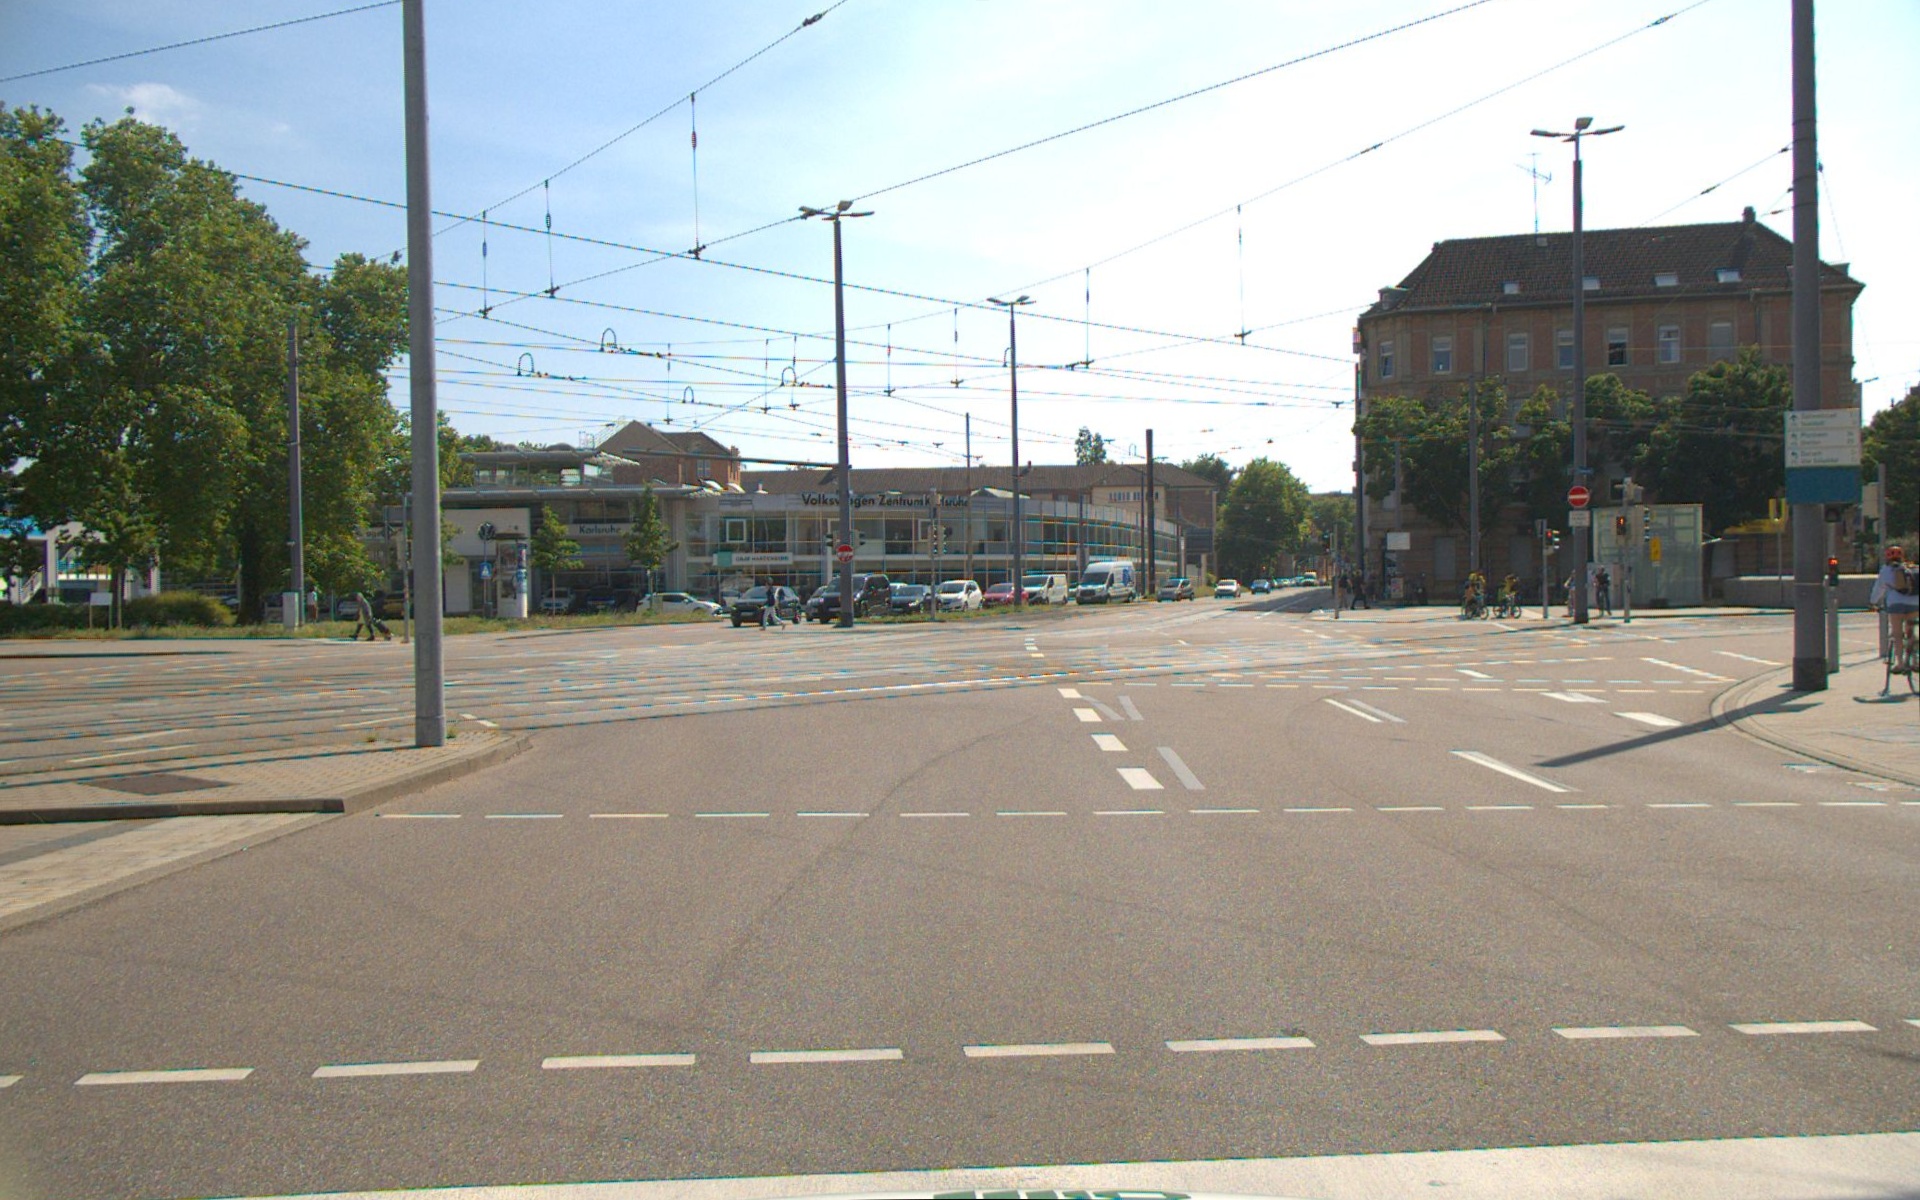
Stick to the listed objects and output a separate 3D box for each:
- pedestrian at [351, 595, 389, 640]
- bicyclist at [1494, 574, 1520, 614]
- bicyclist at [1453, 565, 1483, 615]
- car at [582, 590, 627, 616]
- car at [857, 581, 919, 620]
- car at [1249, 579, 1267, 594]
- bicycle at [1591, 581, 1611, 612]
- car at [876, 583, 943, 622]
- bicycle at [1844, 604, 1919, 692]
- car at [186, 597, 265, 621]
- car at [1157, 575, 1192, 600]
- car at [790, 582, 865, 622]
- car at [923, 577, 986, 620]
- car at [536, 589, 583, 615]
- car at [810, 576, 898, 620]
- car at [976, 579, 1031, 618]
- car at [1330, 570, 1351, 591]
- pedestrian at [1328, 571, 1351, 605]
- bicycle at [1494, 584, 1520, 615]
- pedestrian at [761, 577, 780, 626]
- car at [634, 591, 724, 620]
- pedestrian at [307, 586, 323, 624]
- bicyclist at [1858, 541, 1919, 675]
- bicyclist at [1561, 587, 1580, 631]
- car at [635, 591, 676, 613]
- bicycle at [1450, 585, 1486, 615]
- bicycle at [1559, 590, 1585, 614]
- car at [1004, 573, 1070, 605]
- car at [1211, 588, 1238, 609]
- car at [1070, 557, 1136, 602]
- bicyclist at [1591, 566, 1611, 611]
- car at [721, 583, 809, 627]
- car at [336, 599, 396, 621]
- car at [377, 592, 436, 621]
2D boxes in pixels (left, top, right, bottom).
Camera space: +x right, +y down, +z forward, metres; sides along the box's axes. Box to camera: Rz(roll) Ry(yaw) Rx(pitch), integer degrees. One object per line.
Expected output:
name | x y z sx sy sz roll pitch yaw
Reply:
pedestrian | -18.962 0.571 53.165 1.098 1.428 0.652 1 -1 -23
bicyclist | 20.394 -0.230 61.669 0.907 1.477 1.252 1 1 18
bicyclist | 18.978 -0.372 61.823 0.907 1.852 1.053 1 -1 9
car | -21.459 0.183 100.025 1.953 1.512 3.998 1 0 -2
car | -3.362 0.050 78.055 1.616 1.769 4.203 -1 -1 16
car | 30.573 -1.410 169.500 1.355 1.439 3.013 1 0 18
bicycle | 23.824 -0.139 61.483 0.653 1.088 2.463 1 1 22
car | -2.142 0.117 71.102 1.854 1.615 4.003 -1 -1 13
bicycle | 12.325 0.605 21.551 0.699 1.033 2.022 -3 0 7
car | -44.864 0.530 101.085 3.906 1.395 1.999 1 0 -1
car | 15.334 -0.888 118.064 1.357 1.685 3.755 1 0 27
car | -5.635 0.096 70.698 1.854 1.615 4.002 -1 -1 16
car | -0.230 -0.044 78.424 1.854 1.950 4.203 -1 -1 16
car | -24.186 0.097 100.012 1.953 1.512 3.998 -1 1 -2
car | -4.080 -0.113 64.523 1.919 1.615 4.719 -1 1 16
car | 2.265 -0.067 85.359 1.854 1.950 4.203 -1 -1 16
car | 38.221 -1.941 166.161 2.063 2.049 4.004 -1 1 13
pedestrian | 16.389 -0.516 71.410 0.608 1.458 0.703 1 -1 -38
bicycle | 20.374 -0.032 61.608 0.907 1.088 2.842 1 1 18
pedestrian | -6.352 0.063 55.460 0.449 1.633 0.395 1 -1 -37
car | -14.911 0.270 87.765 4.486 1.461 1.445 1 0 12
pedestrian | -27.798 0.202 71.307 0.384 1.624 0.464 1 -1 23
bicyclist | 12.290 0.090 21.544 0.699 1.698 0.875 -3 0 7
bicyclist | 23.011 0.338 62.326 0.489 1.649 0.650 1 0 4
car | -18.330 0.114 99.684 1.793 1.216 3.998 1 0 -2
bicycle | 18.955 0.019 61.740 0.907 1.088 2.749 1 0 9
bicycle | 23.017 0.054 62.236 0.489 0.881 1.588 1 1 4
car | 4.354 -0.637 92.483 2.140 1.710 5.029 -1 0 22
car | 21.386 -0.131 133.536 1.356 1.653 3.339 1 1 23
car | 8.836 -1.225 101.621 2.165 2.620 5.870 1 0 25
bicyclist | 23.863 -0.429 61.580 0.653 1.652 0.782 1 1 22
car | -7.471 0.209 63.859 1.851 1.615 4.213 -1 -1 16
car | -35.983 0.584 100.273 1.951 1.266 4.002 1 0 4
car | -33.674 0.402 100.704 1.951 1.713 4.002 1 0 4
